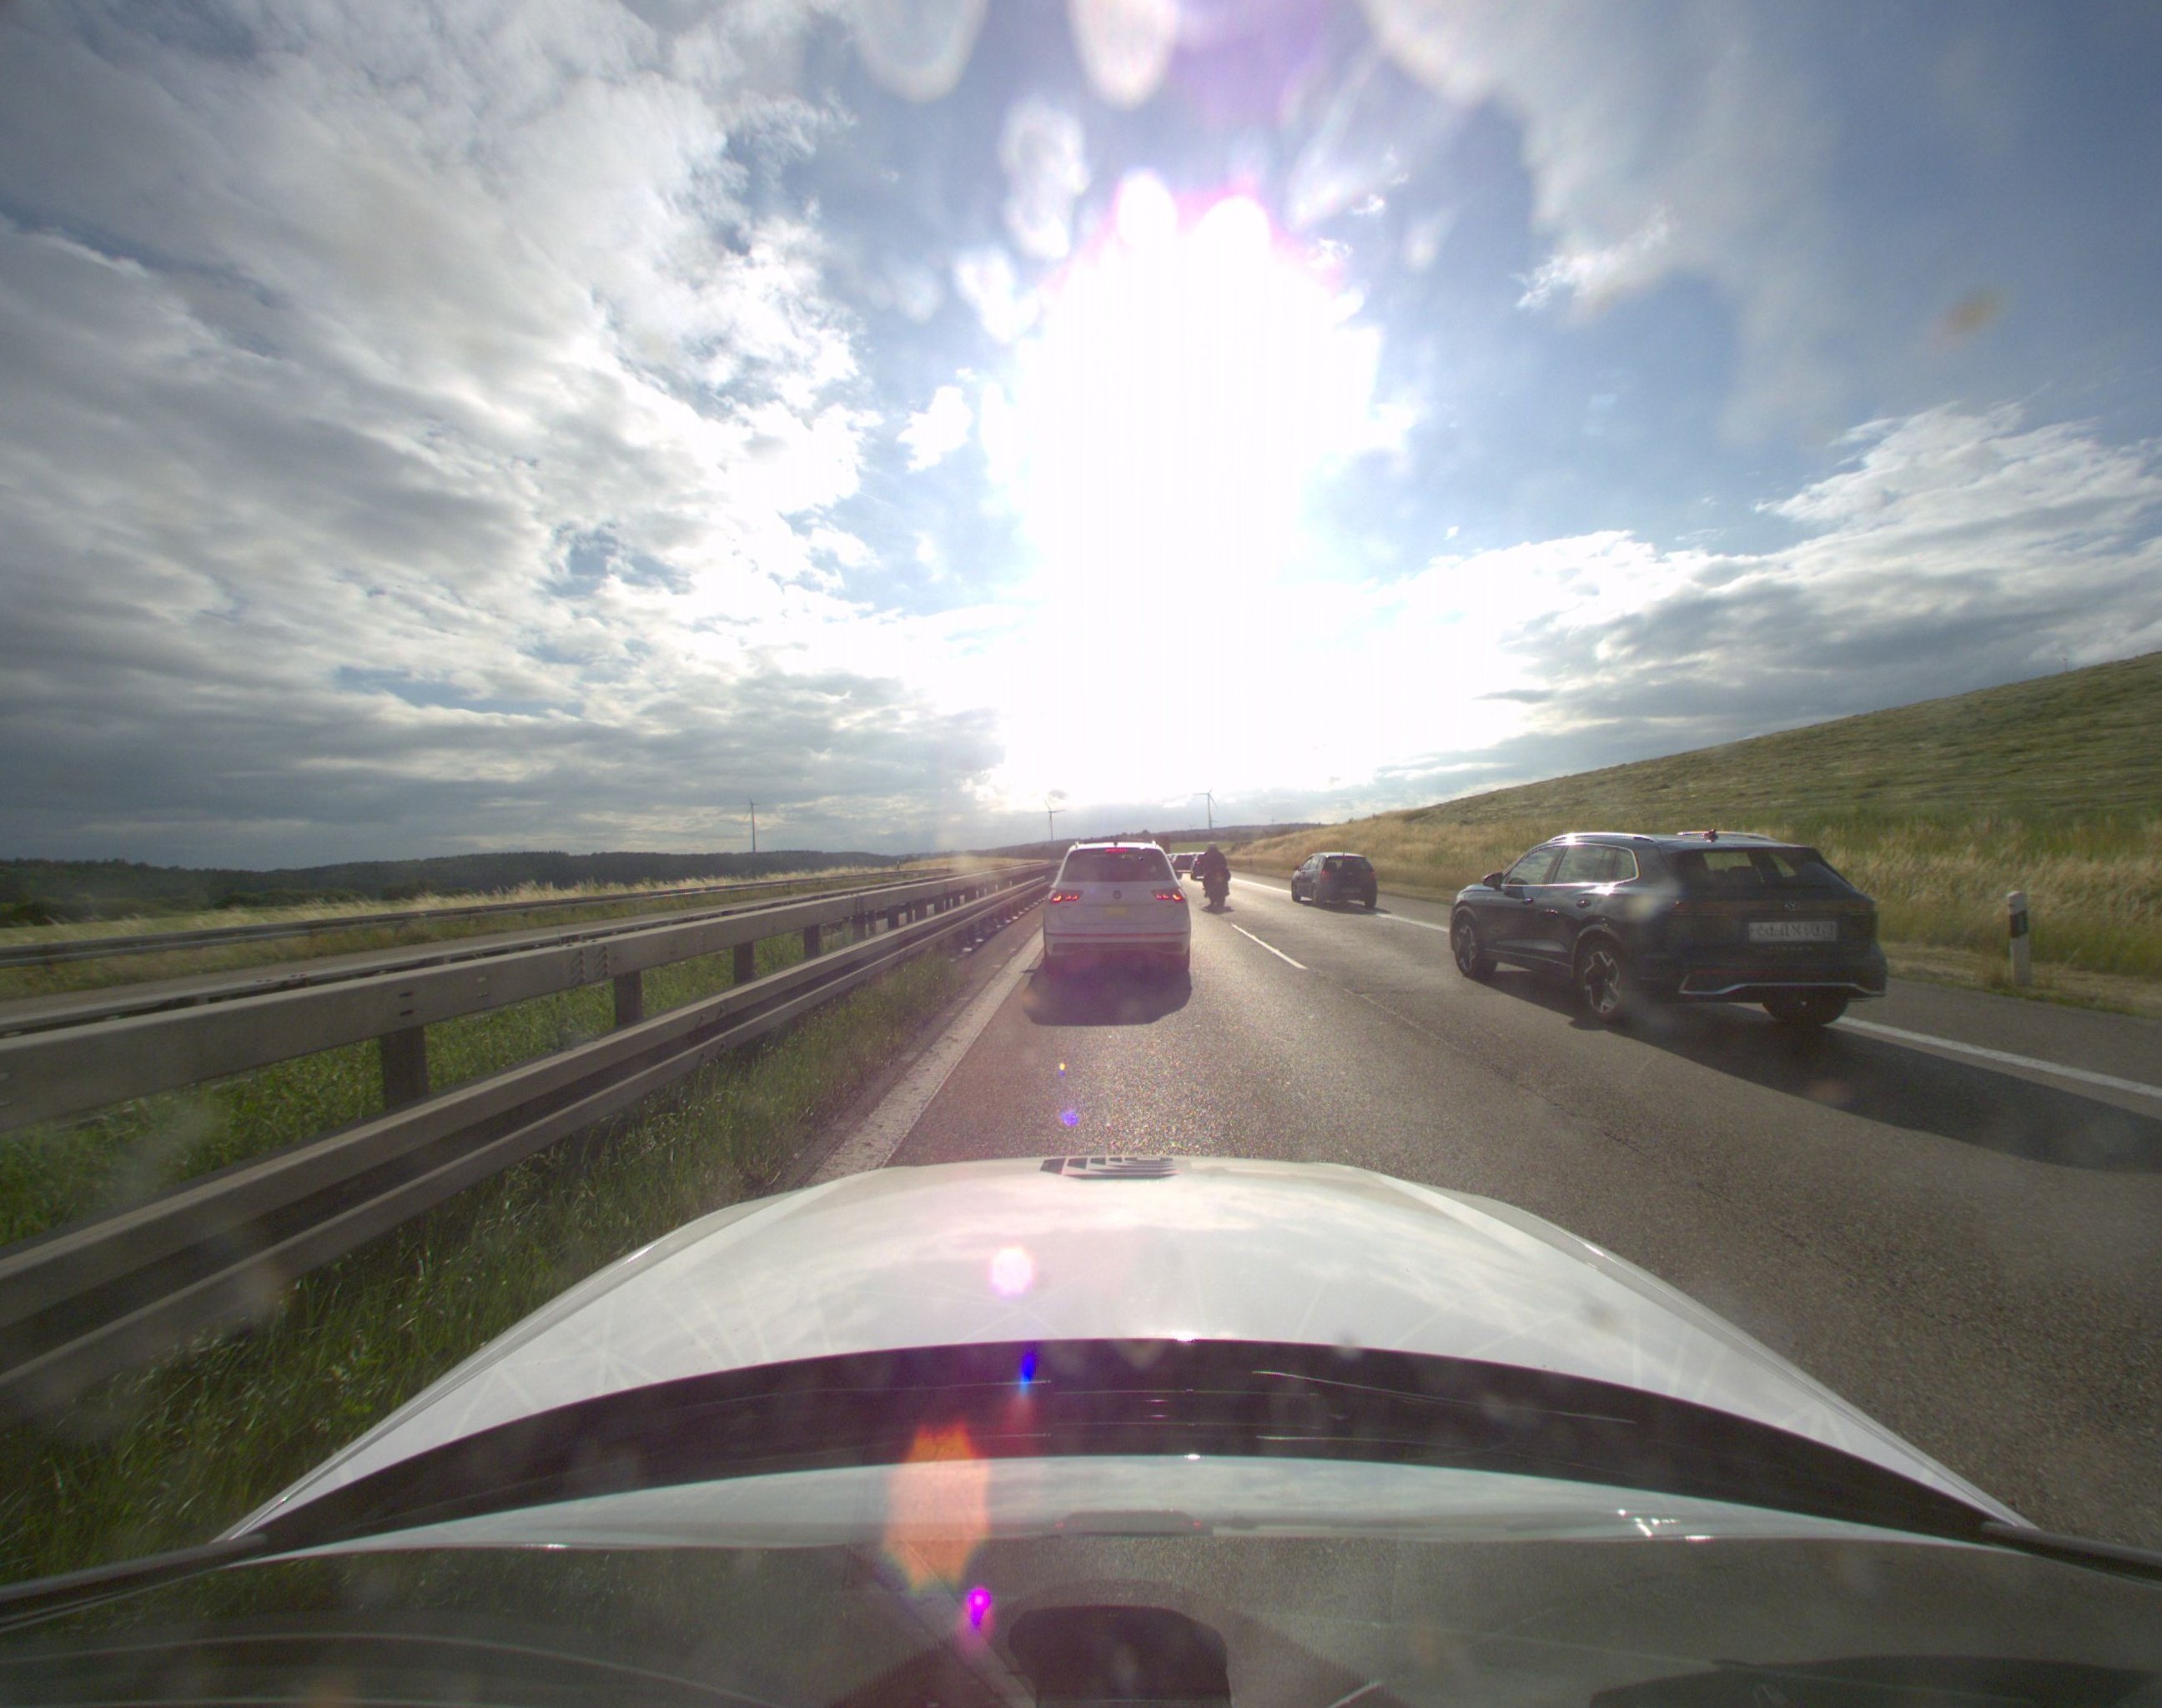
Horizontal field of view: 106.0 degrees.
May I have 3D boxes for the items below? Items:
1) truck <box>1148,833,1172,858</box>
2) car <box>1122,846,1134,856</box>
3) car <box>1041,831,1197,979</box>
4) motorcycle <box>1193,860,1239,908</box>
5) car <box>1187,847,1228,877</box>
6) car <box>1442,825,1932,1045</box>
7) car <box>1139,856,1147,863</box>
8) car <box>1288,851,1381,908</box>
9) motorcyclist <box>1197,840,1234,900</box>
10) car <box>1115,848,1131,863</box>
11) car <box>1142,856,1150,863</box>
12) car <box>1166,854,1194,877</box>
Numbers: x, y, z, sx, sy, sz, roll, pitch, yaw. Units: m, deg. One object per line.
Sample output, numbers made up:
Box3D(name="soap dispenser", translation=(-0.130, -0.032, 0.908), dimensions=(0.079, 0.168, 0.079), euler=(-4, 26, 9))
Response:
Box3D(name="truck", translation=(11.649, -1.231, 120.433), dimensions=(3.170, 3.593, 11.142), euler=(-1, 0, 4))
Box3D(name="car", translation=(7.001, -0.418, 122.819), dimensions=(1.697, 1.546, 4.002), euler=(-1, 0, 2))
Box3D(name="car", translation=(0.509, 0.597, 11.365), dimensions=(1.763, 1.675, 4.002), euler=(-1, 0, 2))
Box3D(name="motorcycle", translation=(3.598, 0.774, 21.867), dimensions=(0.892, 1.190, 2.257), euler=(-1, 0, 1))
Box3D(name="car", translation=(6.830, 0.439, 44.202), dimensions=(1.697, 1.546, 4.002), euler=(-1, 0, 2))
Box3D(name="car", translation=(5.394, 0.604, 8.104), dimensions=(1.814, 1.601, 4.236), euler=(1, 0, 1))
Box3D(name="car", translation=(13.482, 1.212, 177.077), dimensions=(1.697, 1.546, 4.002), euler=(-1, 0, 2))
Box3D(name="car", translation=(6.992, 0.666, 22.829), dimensions=(1.599, 1.420, 3.674), euler=(-1, 0, 2))
Box3D(name="motorcyclist", translation=(3.592, 0.421, 21.825), dimensions=(0.846, 1.560, 0.934), euler=(-1, -1, 1))
Box3D(name="car", translation=(4.786, 0.216, 92.860), dimensions=(1.697, 1.650, 4.002), euler=(-1, 0, 2))
Box3D(name="car", translation=(15.711, 1.284, 197.467), dimensions=(1.697, 1.546, 4.002), euler=(-1, 0, 2))
Box3D(name="car", translation=(7.333, 0.835, 60.468), dimensions=(1.697, 1.650, 4.002), euler=(-1, 0, 2))
